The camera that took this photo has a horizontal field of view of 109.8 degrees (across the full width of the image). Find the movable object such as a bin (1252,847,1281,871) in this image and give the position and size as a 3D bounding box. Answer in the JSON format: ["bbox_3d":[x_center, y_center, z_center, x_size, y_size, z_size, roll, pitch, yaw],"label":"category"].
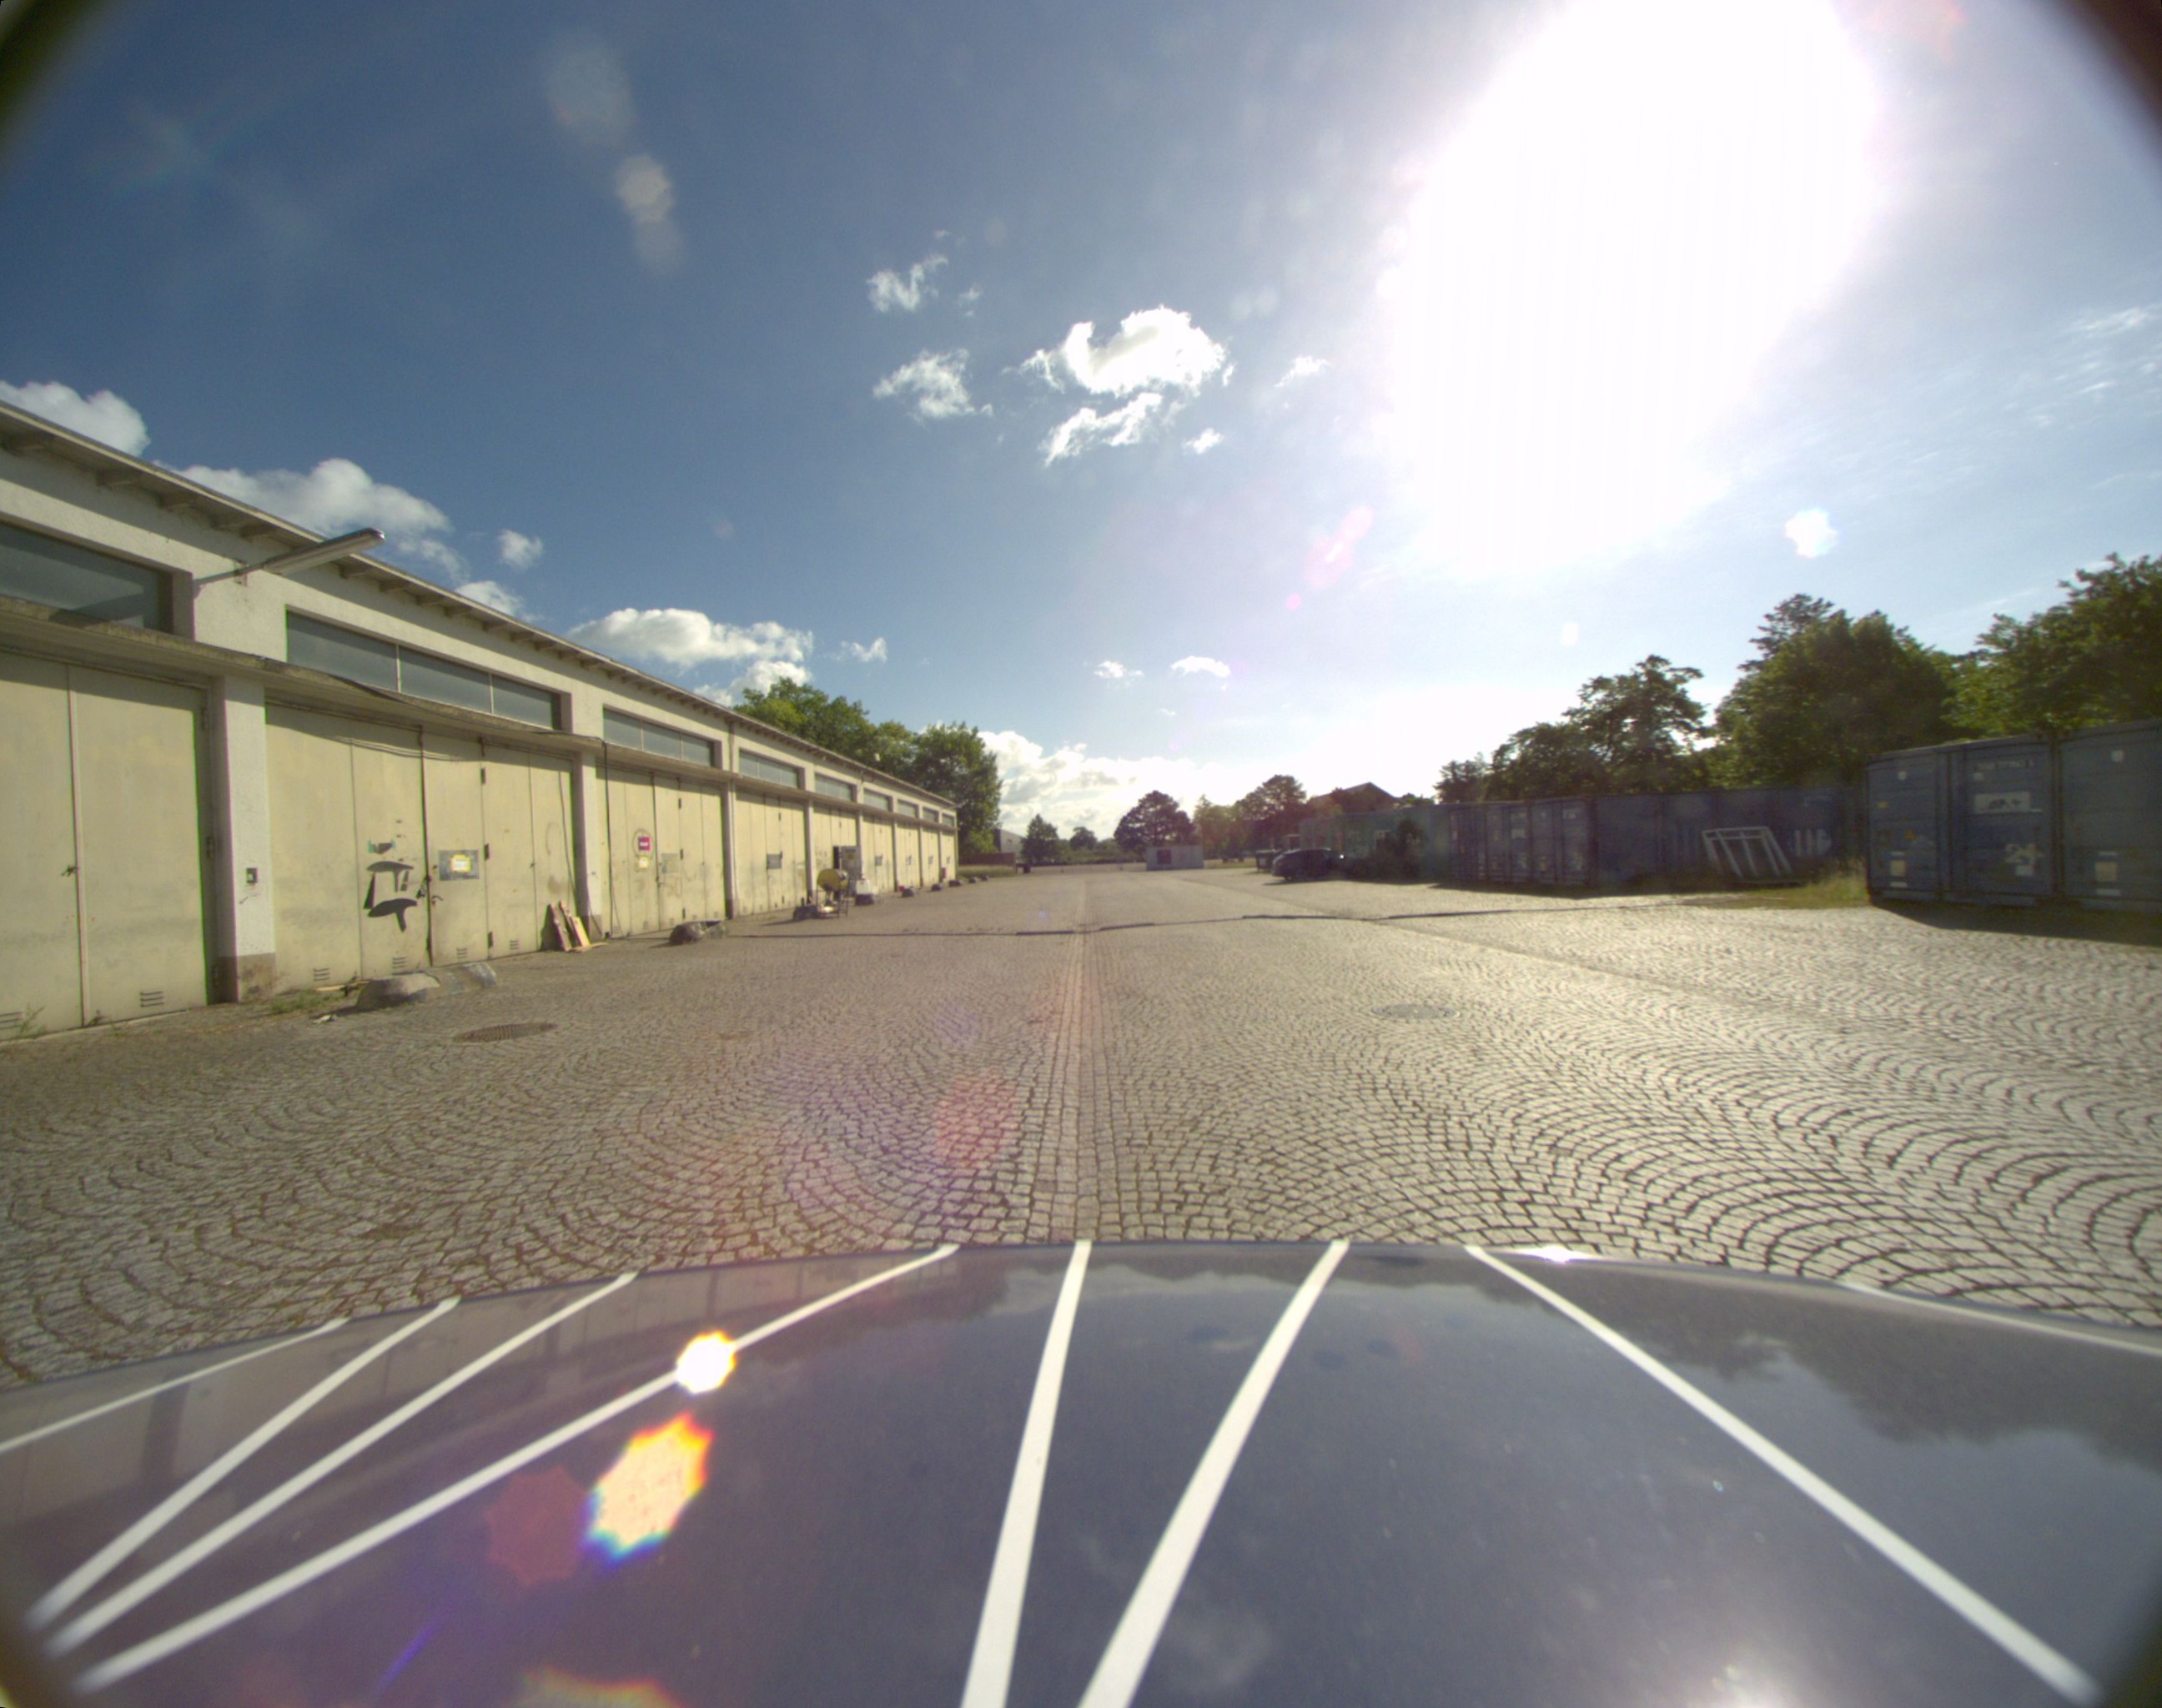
[{"bbox_3d":[12.473,0.338,51.076,1.435,1.449,1.158,-3,1,43],"label":"movable object such as a bin"}]

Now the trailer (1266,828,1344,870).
[{"bbox_3d":[15.362,-0.349,52.212,4.649,2.553,1.951,-3,1,-4],"label":"trailer"}]

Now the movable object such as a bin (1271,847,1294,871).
[{"bbox_3d":[12.962,0.330,48.964,1.020,1.449,1.440,-3,1,0],"label":"movable object such as a bin"}]

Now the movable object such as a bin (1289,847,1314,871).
[{"bbox_3d":[13.707,0.303,47.283,0.885,1.449,1.439,-4,1,-10],"label":"movable object such as a bin"}]

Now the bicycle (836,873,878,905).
[{"bbox_3d":[-8.460,1.298,28.762,0.665,1.062,1.825,-3,1,12],"label":"bicycle"}]

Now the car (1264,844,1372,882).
[{"bbox_3d":[10.757,0.396,34.695,4.263,1.441,1.931,-3,1,-2],"label":"car"}]

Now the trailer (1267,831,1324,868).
[{"bbox_3d":[15.399,-0.327,54.663,3.393,2.455,2.044,-3,1,1],"label":"trailer"}]
